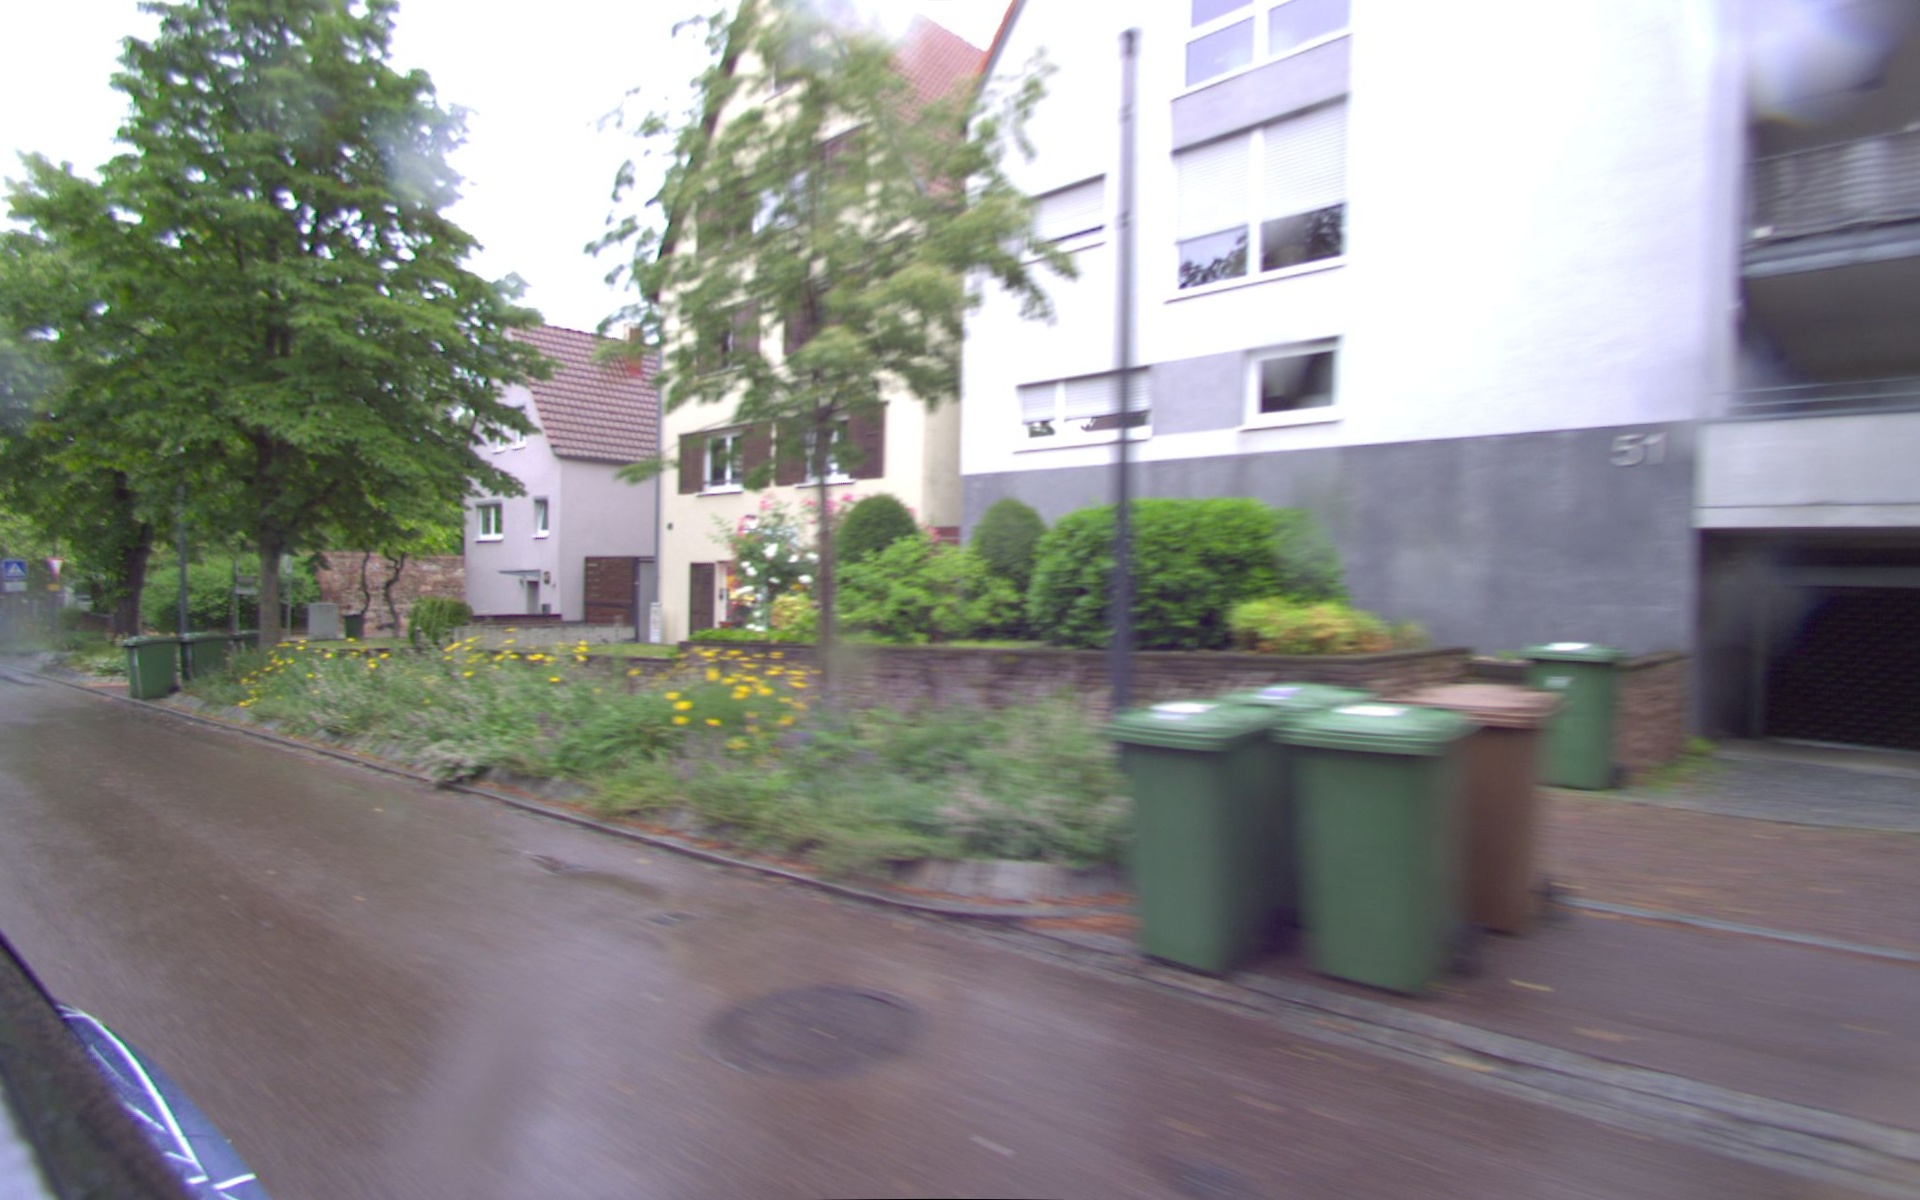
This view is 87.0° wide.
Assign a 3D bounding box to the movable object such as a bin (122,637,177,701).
[{"bbox_3d":[-14.427,1.213,18.014,0.564,1.067,0.621,-1,2,40],"label":"movable object such as a bin"}]

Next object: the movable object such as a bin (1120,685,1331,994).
[{"bbox_3d":[1.110,0.929,4.221,0.655,1.082,0.596,1,-1,-45],"label":"movable object such as a bin"}]

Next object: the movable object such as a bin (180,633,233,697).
[{"bbox_3d":[-13.523,1.154,18.165,0.568,1.067,0.611,-1,2,40],"label":"movable object such as a bin"}]

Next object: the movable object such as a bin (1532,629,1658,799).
[{"bbox_3d":[4.667,0.800,7.438,0.659,1.141,0.655,-1,0,43],"label":"movable object such as a bin"}]

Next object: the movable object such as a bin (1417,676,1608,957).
[{"bbox_3d":[2.499,0.917,4.573,0.655,1.082,0.596,1,-1,-45],"label":"movable object such as a bin"}]

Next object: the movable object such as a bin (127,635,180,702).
[{"bbox_3d":[-14.003,1.180,17.568,0.570,1.085,0.578,-1,2,39],"label":"movable object such as a bin"}]

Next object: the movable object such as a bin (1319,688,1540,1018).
[{"bbox_3d":[1.846,0.920,3.974,0.655,1.075,0.596,1,-1,-45],"label":"movable object such as a bin"}]

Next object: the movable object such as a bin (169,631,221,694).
[{"bbox_3d":[-14.008,1.132,18.532,0.581,1.069,0.617,-1,2,40],"label":"movable object such as a bin"}]

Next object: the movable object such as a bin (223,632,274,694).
[{"bbox_3d":[-13.112,1.150,18.663,0.560,1.067,0.611,-1,2,40],"label":"movable object such as a bin"}]

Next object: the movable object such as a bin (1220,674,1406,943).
[{"bbox_3d":[1.657,0.916,4.746,0.655,1.082,0.596,1,-1,-45],"label":"movable object such as a bin"}]
